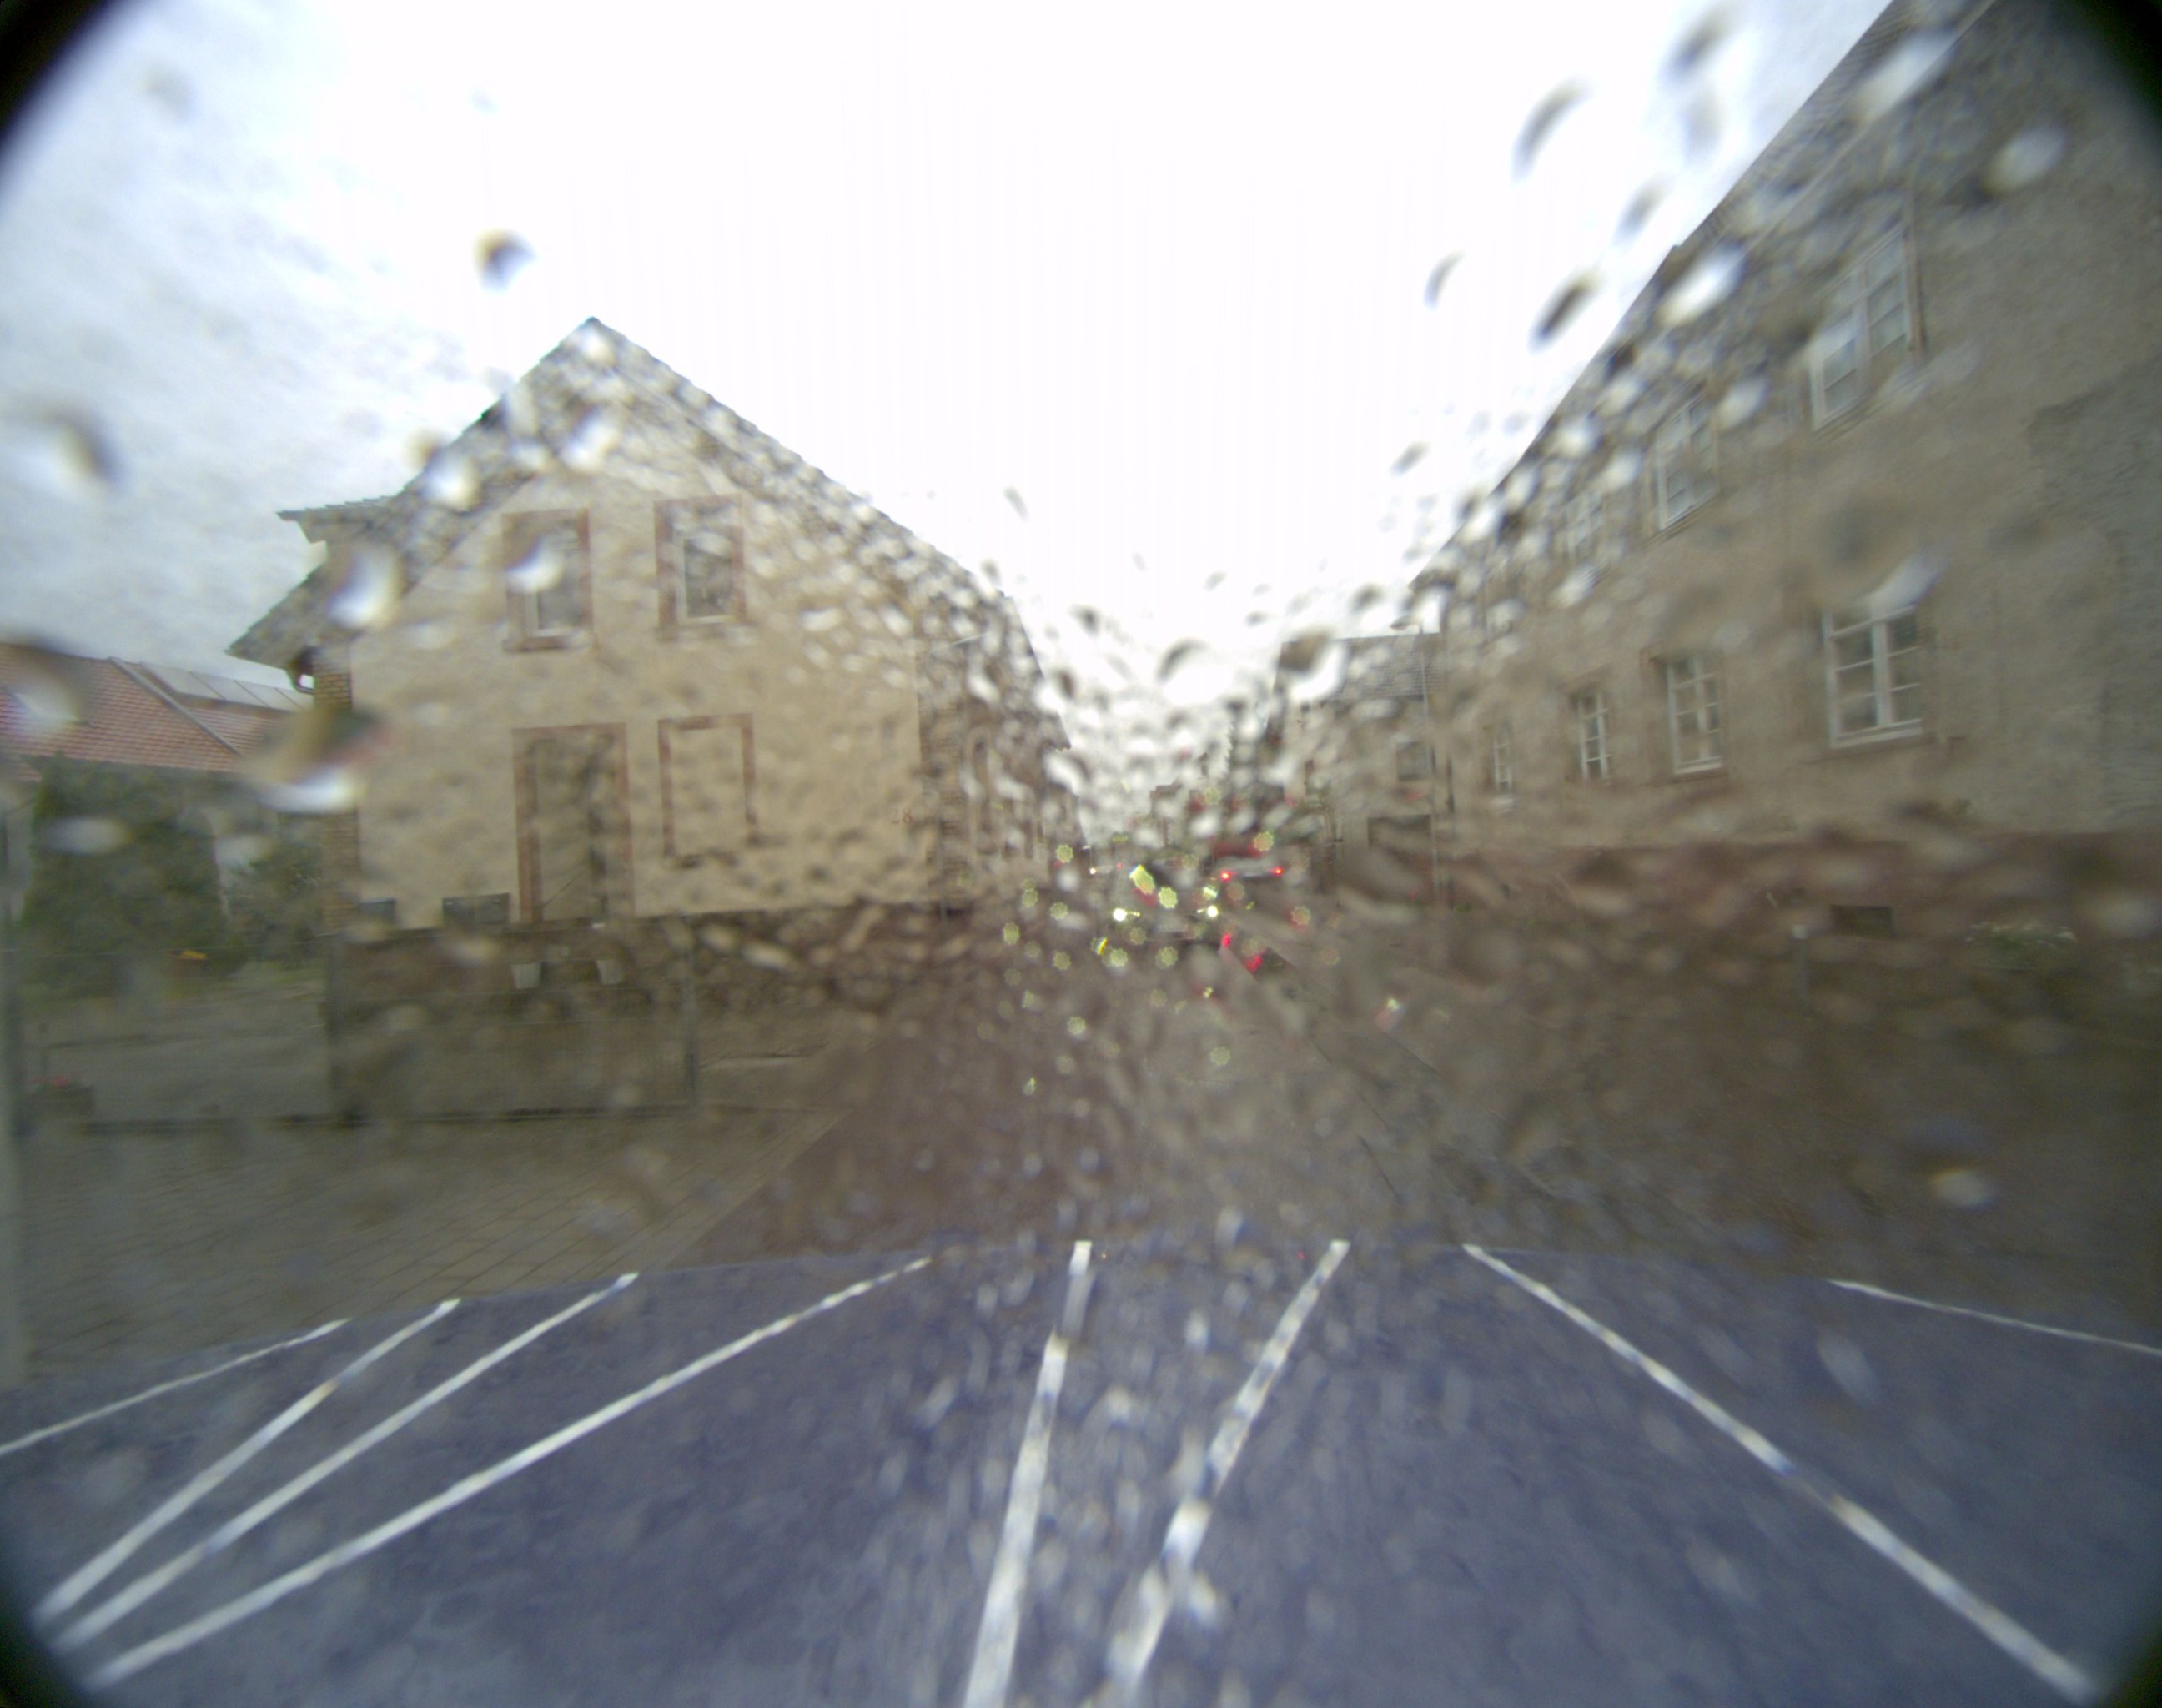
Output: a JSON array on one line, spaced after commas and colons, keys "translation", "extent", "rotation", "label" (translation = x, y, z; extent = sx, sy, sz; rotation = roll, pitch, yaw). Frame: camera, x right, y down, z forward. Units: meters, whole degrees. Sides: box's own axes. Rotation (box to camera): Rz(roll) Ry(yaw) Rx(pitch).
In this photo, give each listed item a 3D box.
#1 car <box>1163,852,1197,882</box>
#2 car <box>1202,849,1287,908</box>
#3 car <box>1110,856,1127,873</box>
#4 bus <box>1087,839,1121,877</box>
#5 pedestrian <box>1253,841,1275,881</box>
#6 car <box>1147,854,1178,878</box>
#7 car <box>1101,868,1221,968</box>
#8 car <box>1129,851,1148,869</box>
[{"translation": [5.638, 0.711, 43.478], "extent": [1.608, 1.504, 3.689], "rotation": [-3, 0, 3], "label": "car"}, {"translation": [4.986, 0.682, 23.724], "extent": [1.837, 1.546, 4.240], "rotation": [-4, 0, 3], "label": "car"}, {"translation": [4.103, 1.125, 83.111], "extent": [1.784, 1.655, 4.426], "rotation": [-3, 1, 3], "label": "car"}, {"translation": [2.080, 0.341, 73.787], "extent": [2.668, 3.213, 12.190], "rotation": [-2, 0, -1], "label": "bus"}, {"translation": [7.339, 0.276, 30.480], "extent": [0.573, 1.529, 0.833], "rotation": [-5, 0, 0], "label": "pedestrian"}, {"translation": [5.582, 0.824, 52.358], "extent": [1.700, 1.500, 4.342], "rotation": [-2, 0, 2], "label": "car"}, {"translation": [1.410, 0.999, 13.358], "extent": [1.738, 1.362, 4.104], "rotation": [-2, 0, 6], "label": "car"}, {"translation": [5.427, 0.585, 71.625], "extent": [1.626, 1.502, 3.794], "rotation": [-6, 0, 4], "label": "car"}]
